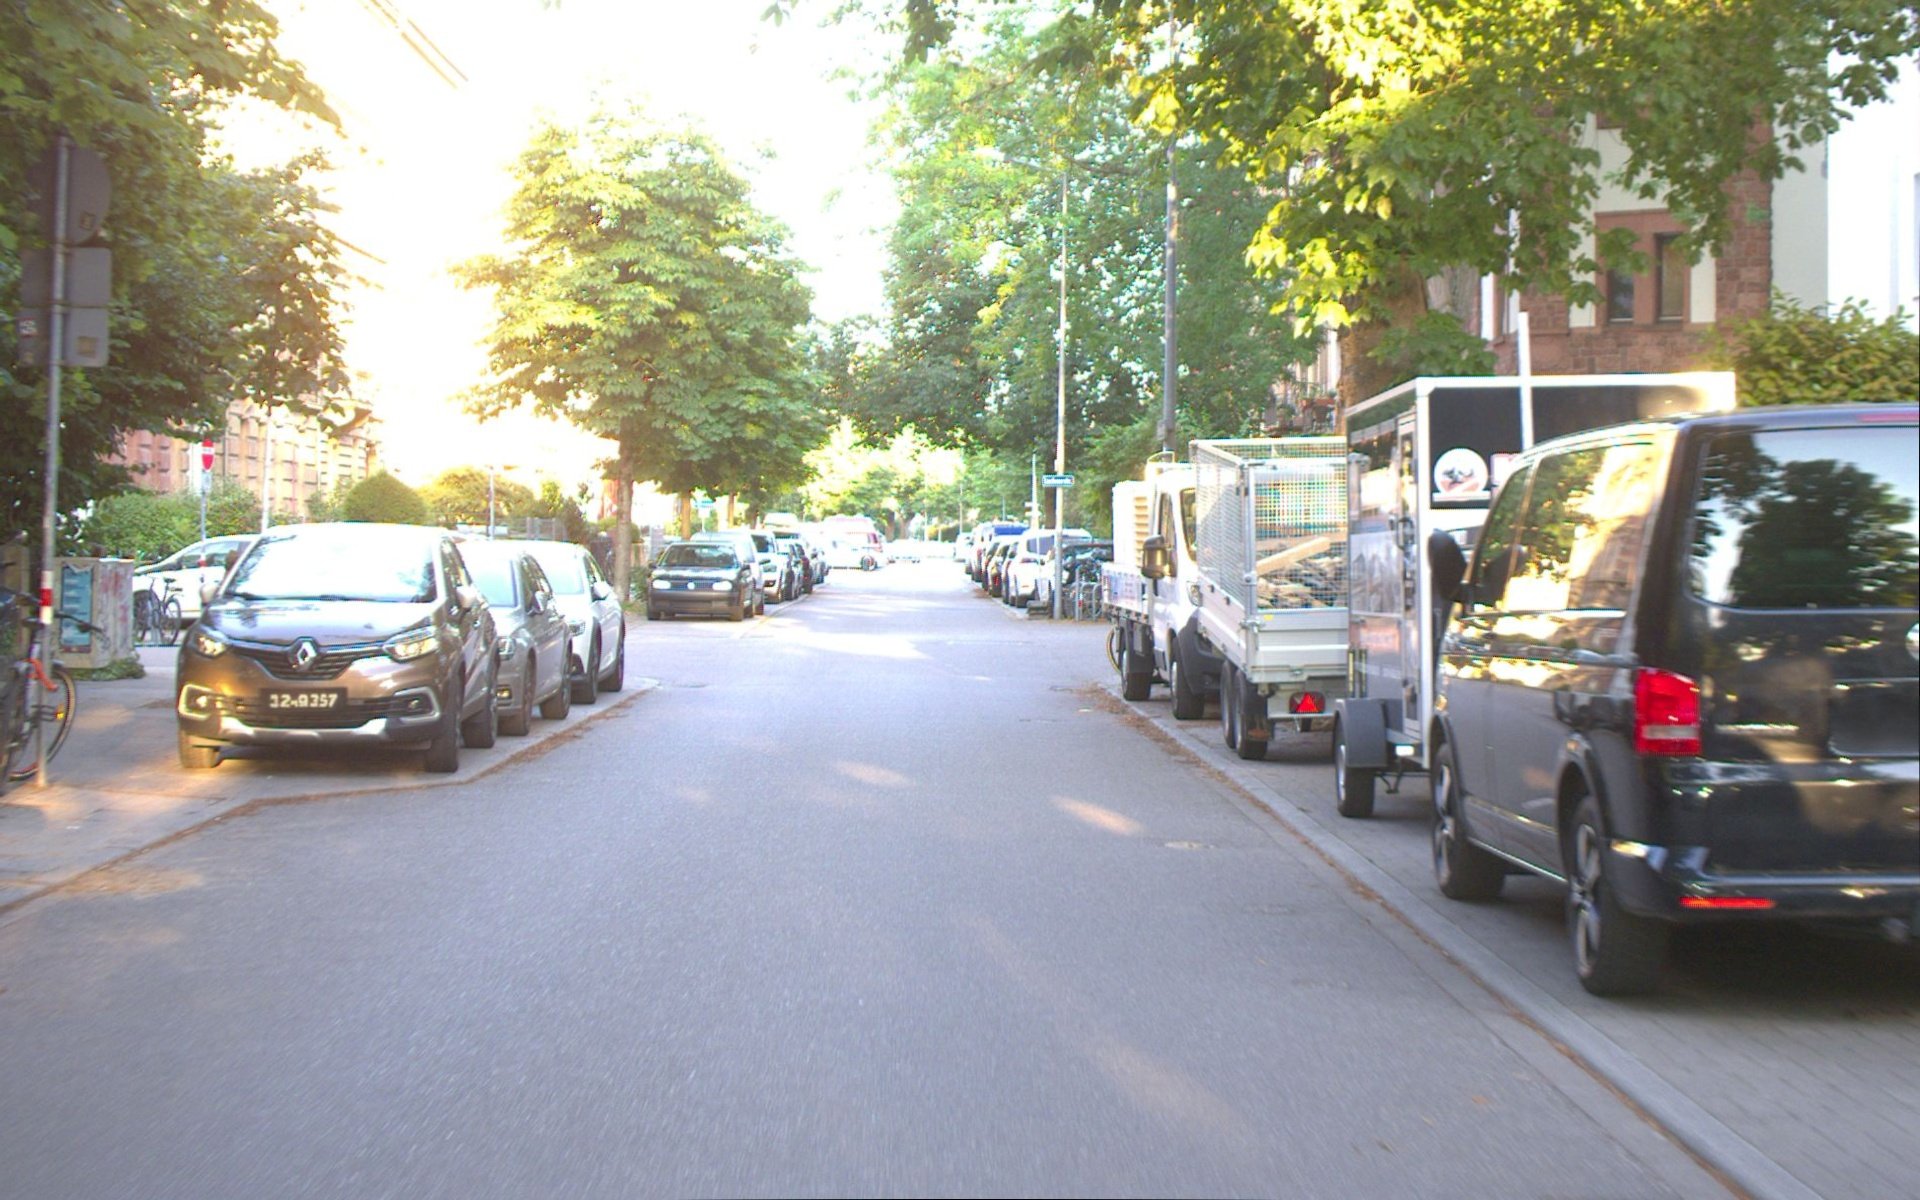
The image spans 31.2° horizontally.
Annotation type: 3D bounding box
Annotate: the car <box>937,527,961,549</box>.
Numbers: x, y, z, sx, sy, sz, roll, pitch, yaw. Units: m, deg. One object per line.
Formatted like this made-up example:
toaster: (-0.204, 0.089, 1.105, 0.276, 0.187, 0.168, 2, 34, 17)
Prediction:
car: (-0.853, -4.616, 256.882, 1.715, 1.590, 3.483, 1, 1, -1)

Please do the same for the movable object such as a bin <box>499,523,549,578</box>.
movable object such as a bin: (-10.884, -1.232, 85.876, 1.013, 1.316, 1.005, 3, 2, 4)

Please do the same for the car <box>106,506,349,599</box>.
car: (-12.251, -0.810, 57.608, 3.564, 1.442, 1.817, 1, 2, 8)

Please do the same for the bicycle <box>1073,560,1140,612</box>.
bicycle: (2.736, -0.257, 64.221, 1.224, 0.944, 0.330, -1, 2, -22)

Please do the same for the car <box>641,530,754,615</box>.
car: (-4.770, -0.522, 62.837, 1.616, 1.465, 3.961, 1, 1, 2)

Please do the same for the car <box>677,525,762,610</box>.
car: (-4.747, -0.662, 67.845, 1.595, 1.598, 3.745, 1, 1, -4)

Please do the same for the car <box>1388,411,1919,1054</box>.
car: (2.905, 0.317, 12.828, 1.839, 1.936, 4.614, -2, 2, -2)

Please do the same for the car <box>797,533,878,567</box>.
car: (-5.618, -2.295, 157.555, 3.618, 1.456, 1.607, 1, 1, -4)

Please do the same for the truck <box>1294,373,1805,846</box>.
truck: (3.104, -0.028, 19.096, 1.954, 2.238, 4.645, -2, 2, 0)

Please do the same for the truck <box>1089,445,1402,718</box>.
truck: (2.476, -0.191, 31.630, 1.977, 2.237, 6.777, 0, 1, -3)

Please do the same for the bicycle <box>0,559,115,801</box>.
bicycle: (-5.334, 0.421, 19.505, 0.482, 1.251, 1.900, 4, 2, 2)

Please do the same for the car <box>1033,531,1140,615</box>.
car: (2.487, -0.550, 68.261, 1.686, 1.587, 3.659, 0, 1, -5)

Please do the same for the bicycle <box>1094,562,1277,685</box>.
bicycle: (2.437, 0.249, 37.206, 1.902, 1.254, 0.407, -2, 1, -6)

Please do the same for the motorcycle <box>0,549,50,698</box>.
motorcycle: (-8.066, 0.207, 27.907, 0.582, 1.152, 2.892, 3, 2, -1)

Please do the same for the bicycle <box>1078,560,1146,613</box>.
bicycle: (2.817, -0.258, 63.521, 1.224, 0.954, 0.330, -1, 2, -22)

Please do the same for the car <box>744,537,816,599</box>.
car: (-4.743, -0.864, 90.985, 1.715, 1.561, 3.788, 1, 1, -1)

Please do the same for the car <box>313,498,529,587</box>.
car: (-10.999, -1.180, 70.346, 4.092, 1.522, 1.709, 4, 1, -2)

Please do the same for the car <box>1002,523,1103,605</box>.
car: (1.956, -0.782, 74.023, 1.798, 1.705, 4.602, 0, 1, -3)

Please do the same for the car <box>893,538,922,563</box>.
car: (-3.404, -3.206, 222.137, 1.813, 1.590, 3.483, 1, 1, -1)

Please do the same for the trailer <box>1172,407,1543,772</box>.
trailer: (2.715, -0.123, 24.543, 1.954, 2.288, 4.645, -2, 1, -1)

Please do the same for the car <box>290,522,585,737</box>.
car: (-4.086, 0.195, 27.516, 1.689, 1.497, 4.403, 3, 1, -1)

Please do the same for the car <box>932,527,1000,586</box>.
car: (0.147, -1.220, 97.016, 1.686, 1.600, 3.940, 1, 1, -3)

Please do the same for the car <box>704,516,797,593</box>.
car: (-4.804, -1.070, 79.337, 1.921, 1.711, 4.428, 1, 1, -1)

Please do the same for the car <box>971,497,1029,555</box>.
car: (1.358, -2.518, 117.856, 1.680, 1.934, 3.881, 1, 1, -3)

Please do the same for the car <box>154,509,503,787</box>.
car: (-4.043, 0.229, 22.637, 1.689, 1.558, 4.403, 3, 1, -4)

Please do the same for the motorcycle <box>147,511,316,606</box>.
motorcycle: (-12.850, -0.732, 60.630, 2.853, 1.633, 0.675, 1, 1, 8)

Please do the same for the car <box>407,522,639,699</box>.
car: (-4.174, 0.040, 33.484, 1.689, 1.497, 4.738, 3, 1, -1)

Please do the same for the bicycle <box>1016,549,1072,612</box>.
bicycle: (1.592, -0.365, 65.050, 0.444, 1.169, 1.634, 1, 1, 24)

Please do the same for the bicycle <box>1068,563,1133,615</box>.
bicycle: (2.647, -0.203, 64.836, 1.224, 0.948, 0.330, -1, 3, -28)

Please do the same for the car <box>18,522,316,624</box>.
car: (-12.108, -0.429, 52.612, 4.094, 1.442, 1.709, 1, 2, 8)

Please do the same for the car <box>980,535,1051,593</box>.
car: (1.422, -0.959, 89.357, 1.686, 1.436, 4.210, -1, 1, -1)

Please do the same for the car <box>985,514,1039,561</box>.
car: (1.704, -2.063, 113.854, 1.538, 1.516, 3.432, 1, 1, -3)

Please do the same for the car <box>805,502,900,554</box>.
car: (-5.027, -3.355, 160.283, 4.349, 2.310, 1.746, 1, 1, -2)
